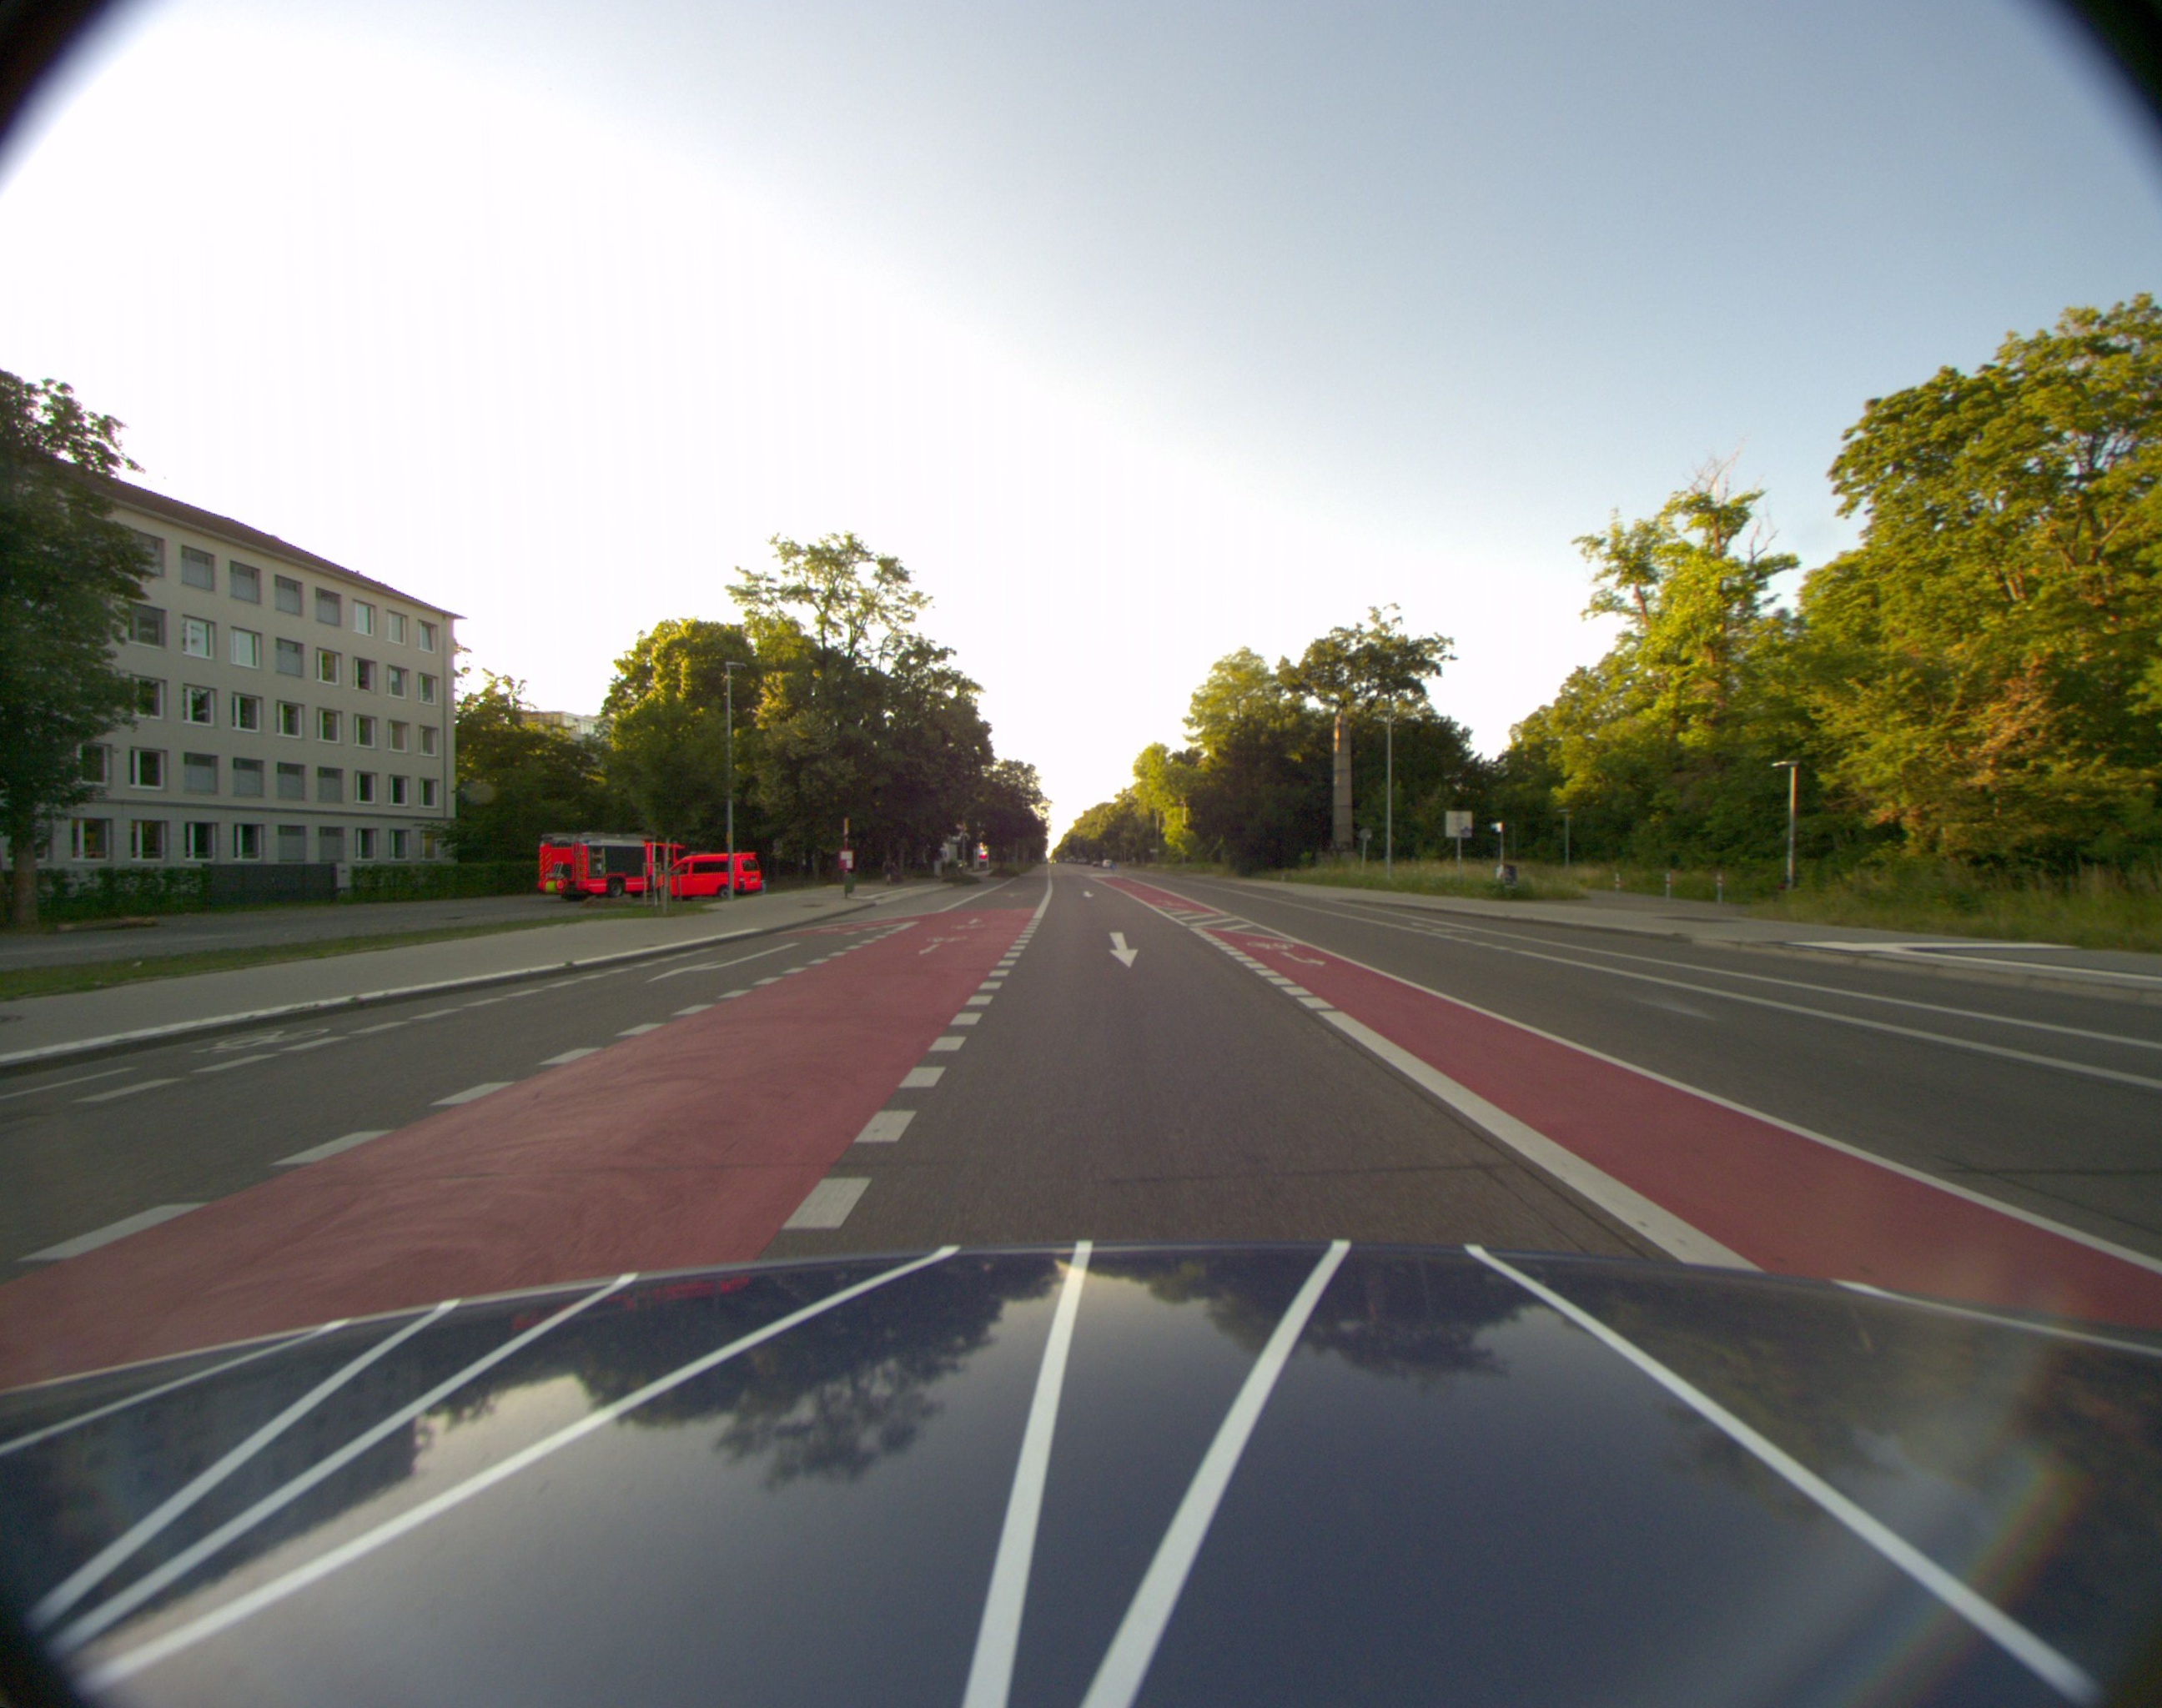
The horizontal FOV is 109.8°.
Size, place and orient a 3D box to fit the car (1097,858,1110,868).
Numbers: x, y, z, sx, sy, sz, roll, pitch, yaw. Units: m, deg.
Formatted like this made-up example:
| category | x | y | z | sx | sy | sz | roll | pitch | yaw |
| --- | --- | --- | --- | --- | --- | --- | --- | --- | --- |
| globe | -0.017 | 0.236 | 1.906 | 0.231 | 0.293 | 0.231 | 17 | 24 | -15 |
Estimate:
| category | x | y | z | sx | sy | sz | roll | pitch | yaw |
| --- | --- | --- | --- | --- | --- | --- | --- | --- | --- |
| car | 3.832 | 1.579 | 130.404 | 1.852 | 1.405 | 4.180 | -3 | -2 | -3 |

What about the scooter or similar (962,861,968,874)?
| category | x | y | z | sx | sy | sz | roll | pitch | yaw |
| --- | --- | --- | --- | --- | --- | --- | --- | --- | --- |
| scooter or similar | -11.285 | 1.284 | 73.985 | 0.483 | 1.274 | 1.139 | 1 | 0 | -7 |

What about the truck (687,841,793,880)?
| category | x | y | z | sx | sy | sz | roll | pitch | yaw |
| --- | --- | --- | --- | --- | --- | --- | --- | --- | --- |
| truck | -29.255 | 0.609 | 65.180 | 8.645 | 3.192 | 2.765 | -1 | 0 | 18 |

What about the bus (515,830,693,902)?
| category | x | y | z | sx | sy | sz | roll | pitch | yaw |
| --- | --- | --- | --- | --- | --- | --- | --- | --- | --- |
| bus | -23.496 | 0.527 | 38.102 | 2.993 | 3.177 | 7.969 | -2 | 0 | 8 |

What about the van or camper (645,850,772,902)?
| category | x | y | z | sx | sy | sz | roll | pitch | yaw |
| --- | --- | --- | --- | --- | --- | --- | --- | --- | --- |
| van or camper | -17.487 | 1.013 | 35.837 | 4.822 | 2.231 | 2.296 | -2 | 0 | 8 |

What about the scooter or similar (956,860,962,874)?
| category | x | y | z | sx | sy | sz | roll | pitch | yaw |
| --- | --- | --- | --- | --- | --- | --- | --- | --- | --- |
| scooter or similar | -11.599 | 1.213 | 72.414 | 0.483 | 1.274 | 1.230 | 1 | 0 | -7 |

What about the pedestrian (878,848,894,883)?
| category | x | y | z | sx | sy | sz | roll | pitch | yaw |
| --- | --- | --- | --- | --- | --- | --- | --- | --- | --- |
| pedestrian | -11.078 | 0.651 | 43.234 | 0.725 | 2.002 | 0.695 | 0 | 1 | -2 |

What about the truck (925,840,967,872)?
| category | x | y | z | sx | sy | sz | roll | pitch | yaw |
| --- | --- | --- | --- | --- | --- | --- | --- | --- | --- |
| truck | -17.569 | 0.236 | 100.135 | 3.227 | 3.707 | 15.881 | -2 | 0 | -2 |

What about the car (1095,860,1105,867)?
| category | x | y | z | sx | sy | sz | roll | pitch | yaw |
| --- | --- | --- | --- | --- | --- | --- | --- | --- | --- |
| car | 3.614 | 1.790 | 148.548 | 1.754 | 1.299 | 3.999 | 0 | 0 | -1 |

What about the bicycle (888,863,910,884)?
| category | x | y | z | sx | sy | sz | roll | pitch | yaw |
| --- | --- | --- | --- | --- | --- | --- | --- | --- | --- |
| bicycle | -10.342 | 1.070 | 43.228 | 0.833 | 1.091 | 1.968 | -4 | 0 | -6 |
